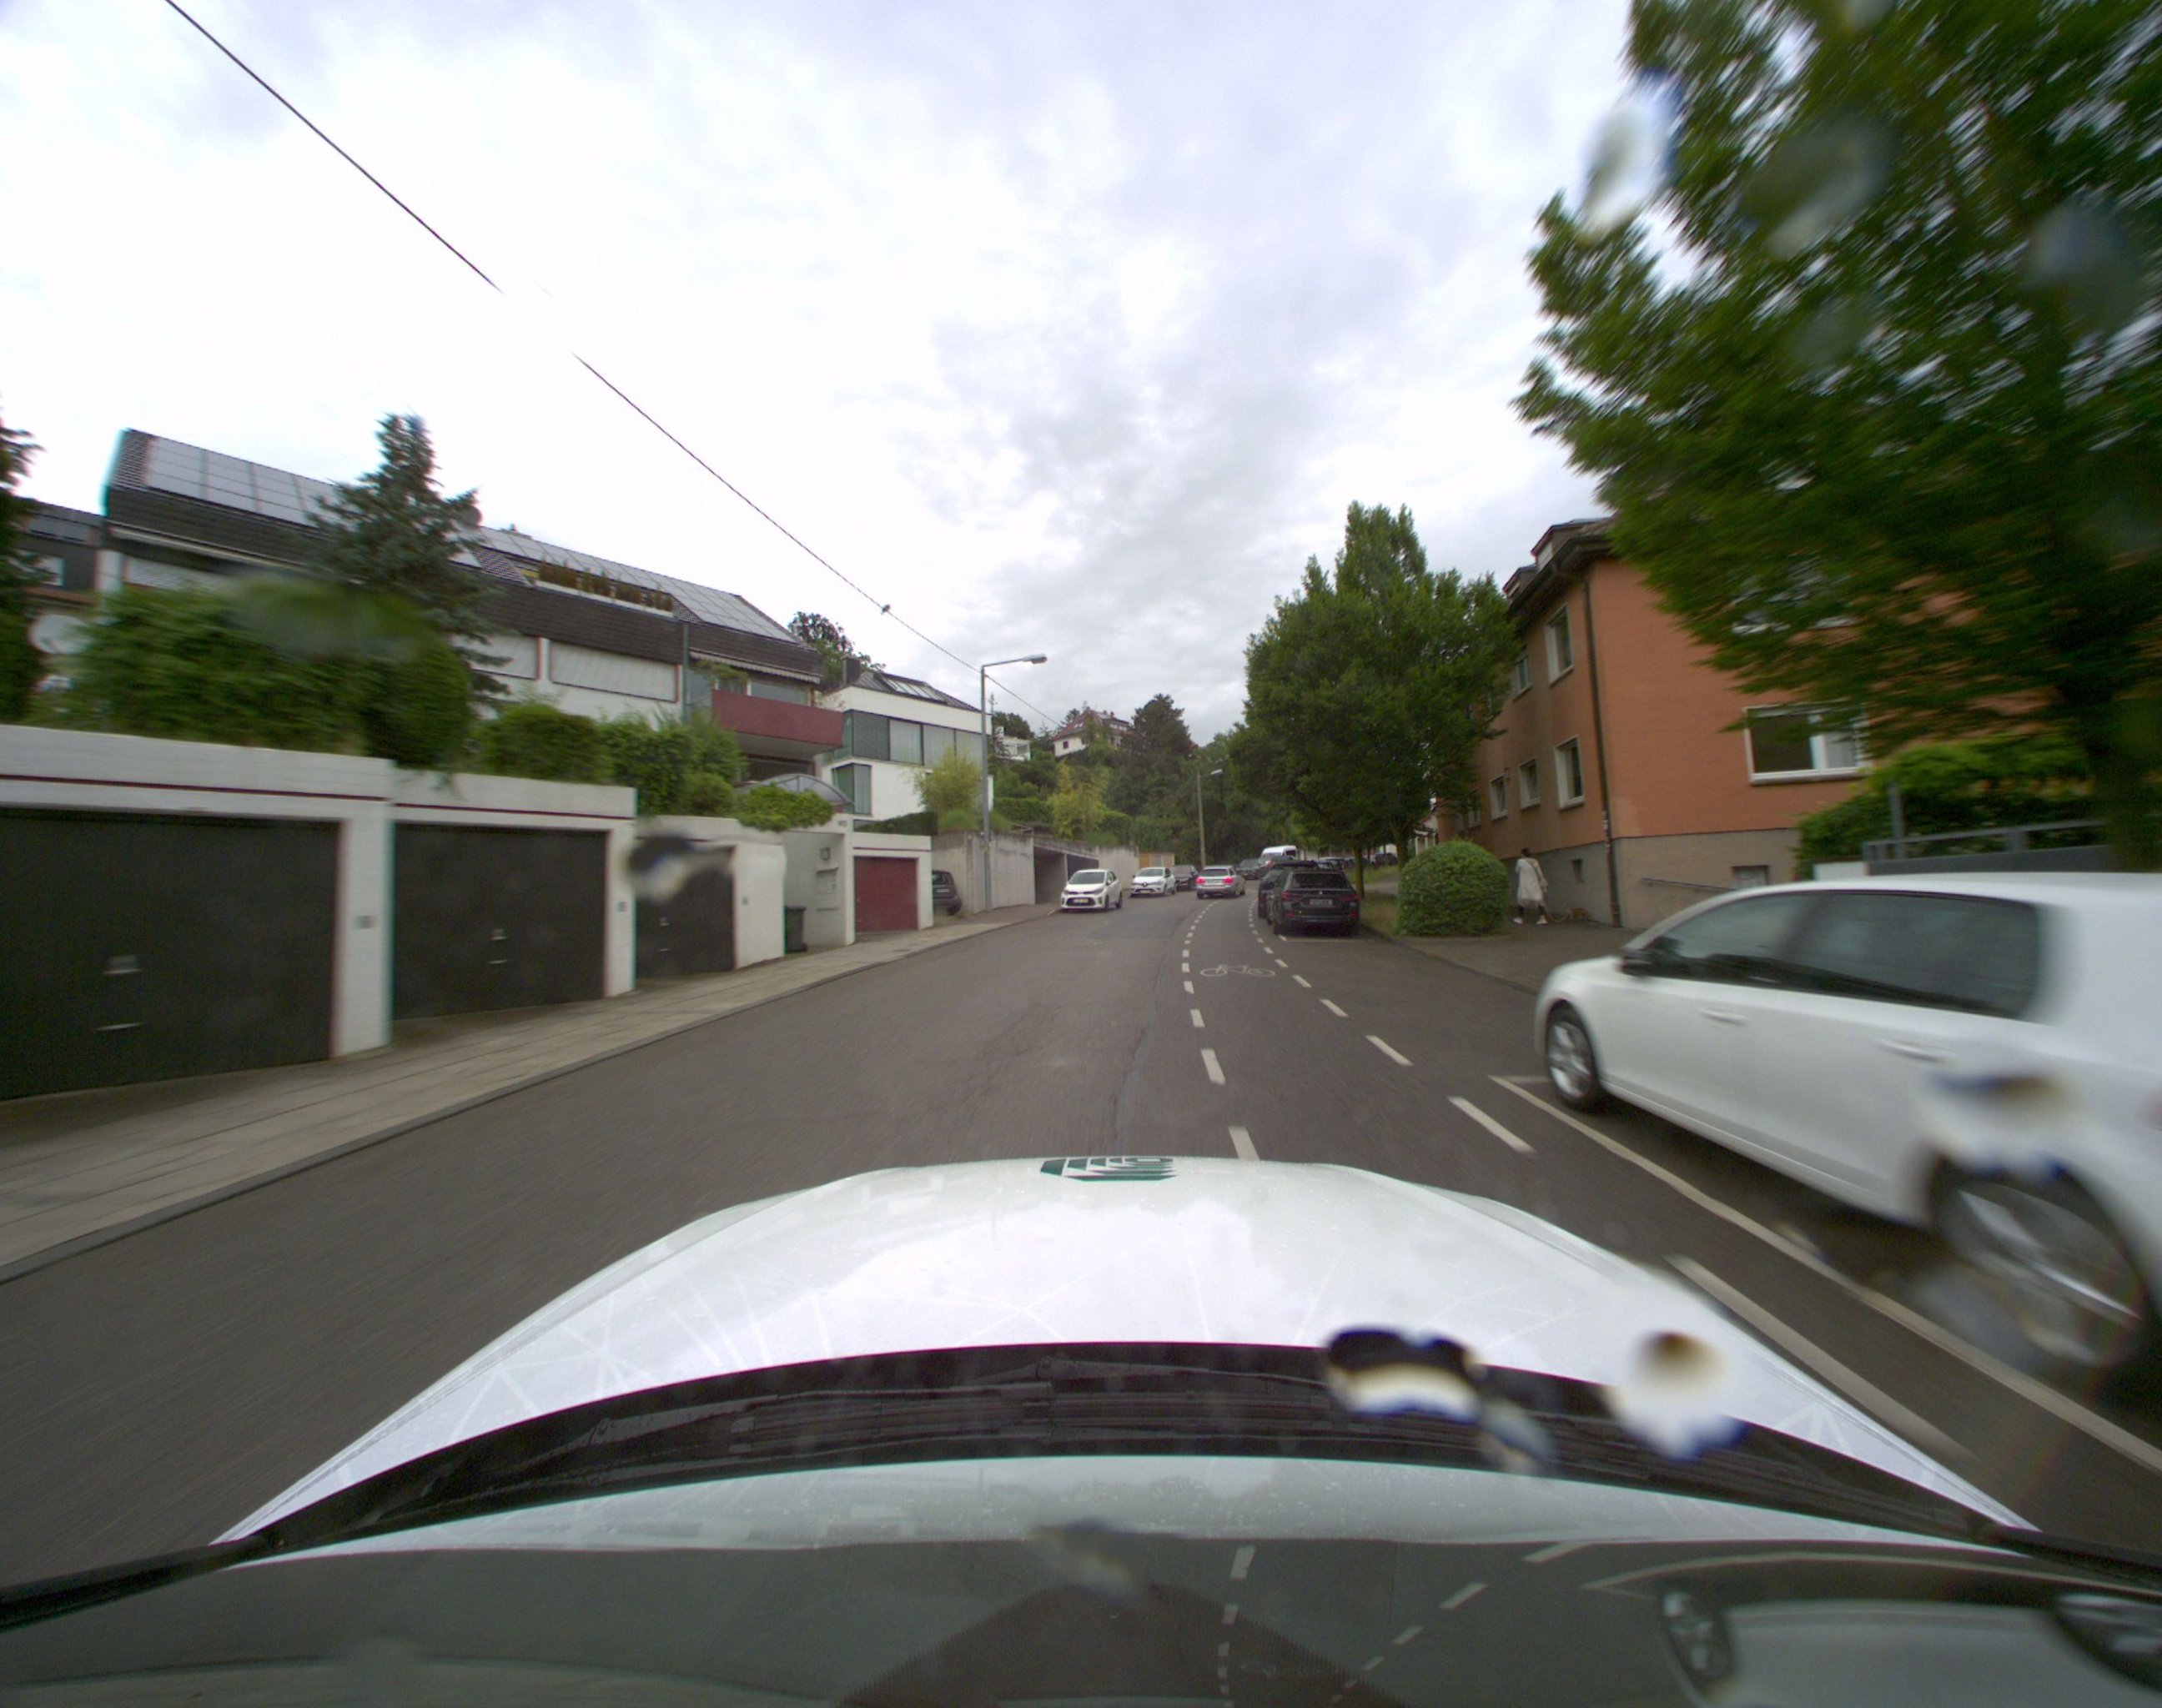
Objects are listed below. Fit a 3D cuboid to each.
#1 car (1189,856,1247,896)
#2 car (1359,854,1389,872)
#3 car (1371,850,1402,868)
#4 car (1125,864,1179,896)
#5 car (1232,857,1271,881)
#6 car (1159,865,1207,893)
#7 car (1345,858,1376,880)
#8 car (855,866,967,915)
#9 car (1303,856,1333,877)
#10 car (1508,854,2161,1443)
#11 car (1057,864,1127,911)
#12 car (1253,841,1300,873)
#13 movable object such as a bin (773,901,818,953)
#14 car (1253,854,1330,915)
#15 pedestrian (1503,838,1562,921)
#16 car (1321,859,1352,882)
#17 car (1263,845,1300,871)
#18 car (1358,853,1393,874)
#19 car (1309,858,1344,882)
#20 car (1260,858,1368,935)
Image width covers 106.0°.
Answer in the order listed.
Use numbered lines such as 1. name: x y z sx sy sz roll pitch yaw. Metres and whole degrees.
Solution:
1. car: 6.327 0.996 37.330 2.009 1.708 4.234 -2 -1 17
2. car: 25.636 0.762 71.114 1.627 1.424 4.315 0 0 31
3. car: 28.332 0.464 75.469 1.697 1.556 4.190 0 1 34
4. car: 3.614 1.285 41.030 1.818 1.440 4.058 -3 -1 17
5. car: 13.440 1.169 63.978 1.878 1.691 4.572 -3 -1 26
6. car: 5.985 1.402 47.448 1.698 1.459 4.706 -2 -1 20
7. car: 20.780 1.111 60.407 1.639 1.519 4.024 -1 0 27
8. car: -5.824 1.176 27.659 3.881 1.478 1.778 0 0 42
9. car: 20.749 1.064 71.081 1.976 1.708 4.022 -2 -1 24
10. car: 3.690 0.757 3.710 1.649 1.489 4.005 0 -1 4
11. car: 0.469 1.163 29.546 1.615 1.516 3.847 -2 -1 14
12. car: 17.117 0.251 70.885 2.074 2.550 6.136 -3 -1 31
13. movable object such as a bin: -5.662 1.432 16.142 0.537 0.963 0.650 -2 -1 40
14. car: 6.628 0.874 25.317 2.038 1.656 5.258 -2 -1 17
15. pedestrian: 9.897 0.557 17.886 0.756 1.720 0.905 -4 -1 9
16. car: 18.015 1.171 57.399 1.611 1.563 3.040 -1 -1 26
17. car: 14.166 0.280 57.303 1.976 1.708 4.021 -2 -1 21
18. car: 23.392 0.714 64.573 1.759 1.553 4.758 -1 0 30
19. car: 15.455 0.986 51.185 1.653 1.471 3.731 0 0 24
20. car: 5.409 0.920 19.485 1.844 1.581 4.869 -2 -1 9
